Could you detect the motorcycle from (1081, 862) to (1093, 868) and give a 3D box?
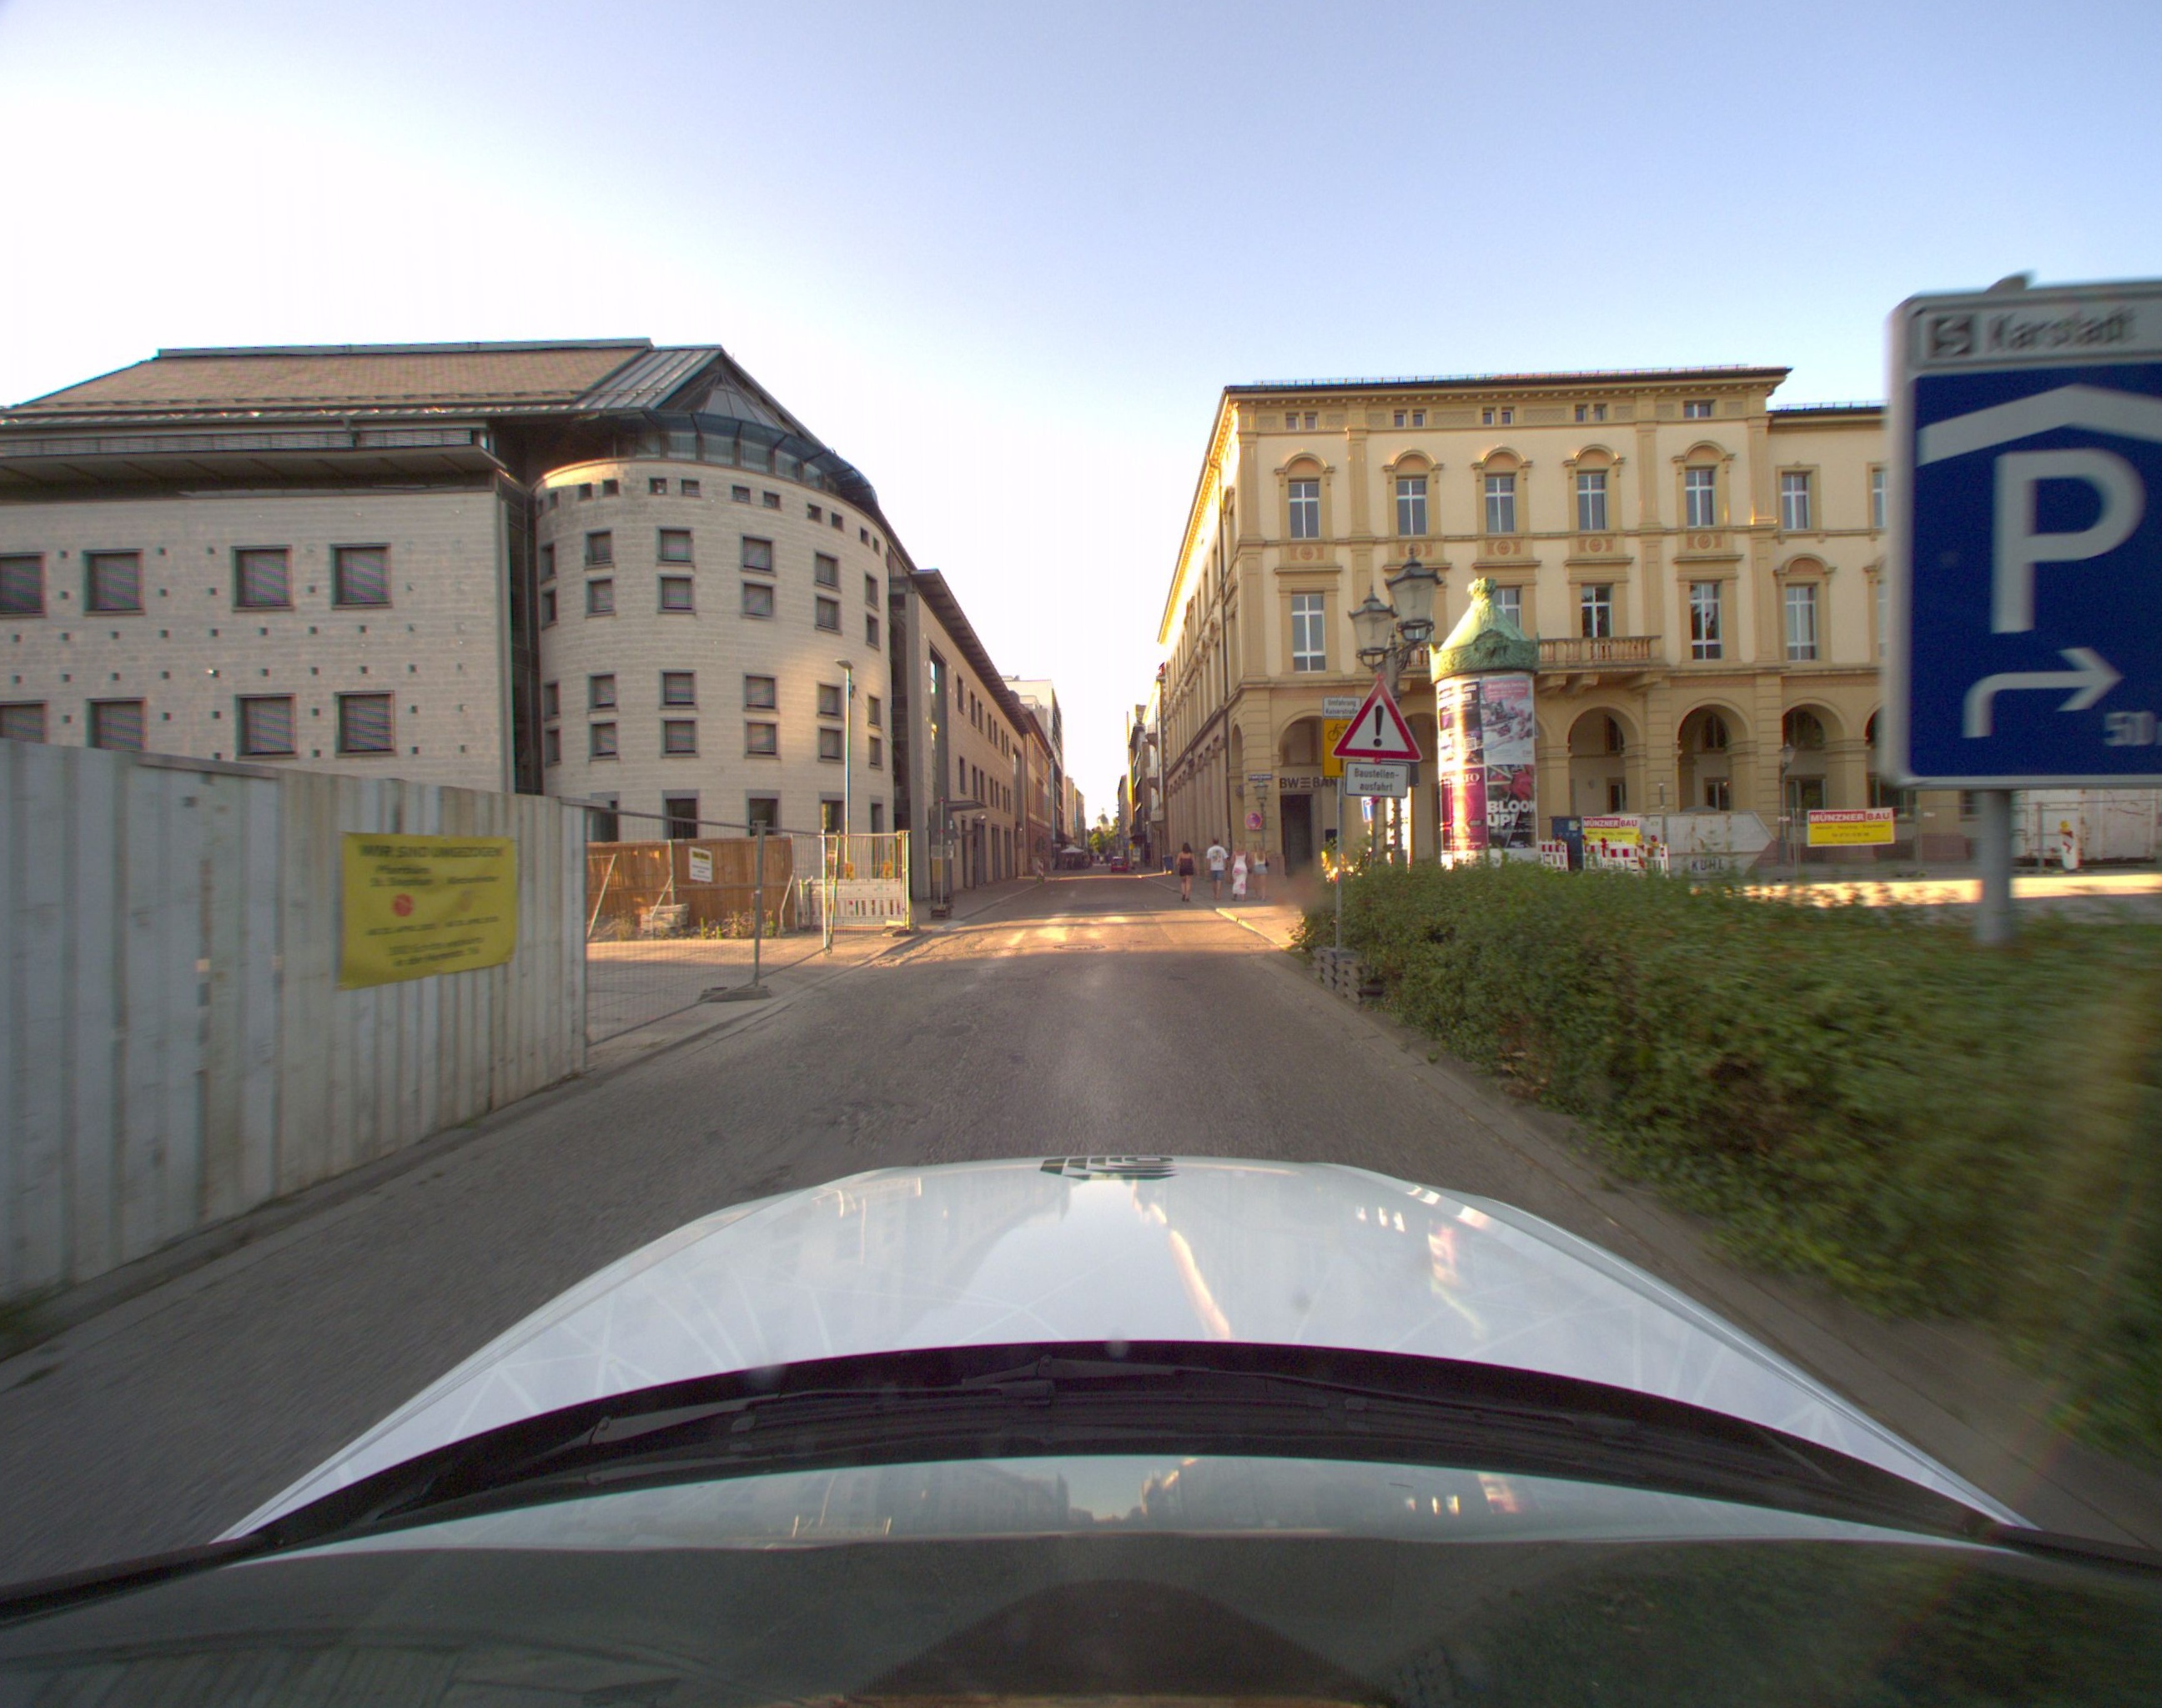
[{"bbox_3d":[0.883,1.574,119.558,1.797,0.875,0.560,-1,-1,-3],"label":"motorcycle"}]

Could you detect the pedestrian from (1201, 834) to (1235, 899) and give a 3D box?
[{"bbox_3d":[4.072,0.381,24.338,0.809,1.875,0.875,-2,-1,0],"label":"pedestrian"}]

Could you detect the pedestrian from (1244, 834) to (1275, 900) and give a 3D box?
[{"bbox_3d":[5.026,0.372,23.005,0.634,1.803,0.772,-2,-1,0],"label":"pedestrian"}]

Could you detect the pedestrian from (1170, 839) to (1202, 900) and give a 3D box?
[{"bbox_3d":[3.077,0.446,24.000,0.773,1.746,0.875,-2,-1,0],"label":"pedestrian"}]

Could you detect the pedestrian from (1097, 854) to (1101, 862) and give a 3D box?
[{"bbox_3d":[3.778,0.841,174.692,0.801,1.672,0.889,-2,-1,3],"label":"pedestrian"}]

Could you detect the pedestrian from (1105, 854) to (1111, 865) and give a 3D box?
[{"bbox_3d":[4.484,0.947,136.336,0.862,1.713,0.852,-1,-1,1],"label":"pedestrian"}]

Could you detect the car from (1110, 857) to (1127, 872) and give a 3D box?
[{"bbox_3d":[3.628,1.008,79.614,1.643,1.427,3.537,1,0,2],"label":"car"}]

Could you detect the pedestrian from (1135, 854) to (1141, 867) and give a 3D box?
[{"bbox_3d":[6.868,0.785,97.543,0.654,1.487,0.493,-2,-1,3],"label":"pedestrian"}]

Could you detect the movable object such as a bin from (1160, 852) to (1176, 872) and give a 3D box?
[{"bbox_3d":[6.254,0.561,58.619,0.987,1.392,1.241,-2,0,1],"label":"movable object such as a bin"}]

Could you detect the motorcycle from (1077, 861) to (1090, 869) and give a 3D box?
[{"bbox_3d":[0.376,1.464,111.382,1.797,1.040,0.493,-1,-1,-3],"label":"motorcycle"}]

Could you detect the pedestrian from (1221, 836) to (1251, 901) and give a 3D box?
[{"bbox_3d":[4.374,0.405,23.001,0.634,1.803,0.772,-2,-1,0],"label":"pedestrian"}]

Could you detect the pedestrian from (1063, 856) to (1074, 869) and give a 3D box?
[{"bbox_3d":[-1.466,1.000,95.397,1.286,1.487,0.661,-1,-1,-1],"label":"pedestrian"}]

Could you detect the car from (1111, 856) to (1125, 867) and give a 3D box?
[{"bbox_3d":[5.828,1.184,128.900,1.987,1.611,3.999,-1,0,0],"label":"car"}]
